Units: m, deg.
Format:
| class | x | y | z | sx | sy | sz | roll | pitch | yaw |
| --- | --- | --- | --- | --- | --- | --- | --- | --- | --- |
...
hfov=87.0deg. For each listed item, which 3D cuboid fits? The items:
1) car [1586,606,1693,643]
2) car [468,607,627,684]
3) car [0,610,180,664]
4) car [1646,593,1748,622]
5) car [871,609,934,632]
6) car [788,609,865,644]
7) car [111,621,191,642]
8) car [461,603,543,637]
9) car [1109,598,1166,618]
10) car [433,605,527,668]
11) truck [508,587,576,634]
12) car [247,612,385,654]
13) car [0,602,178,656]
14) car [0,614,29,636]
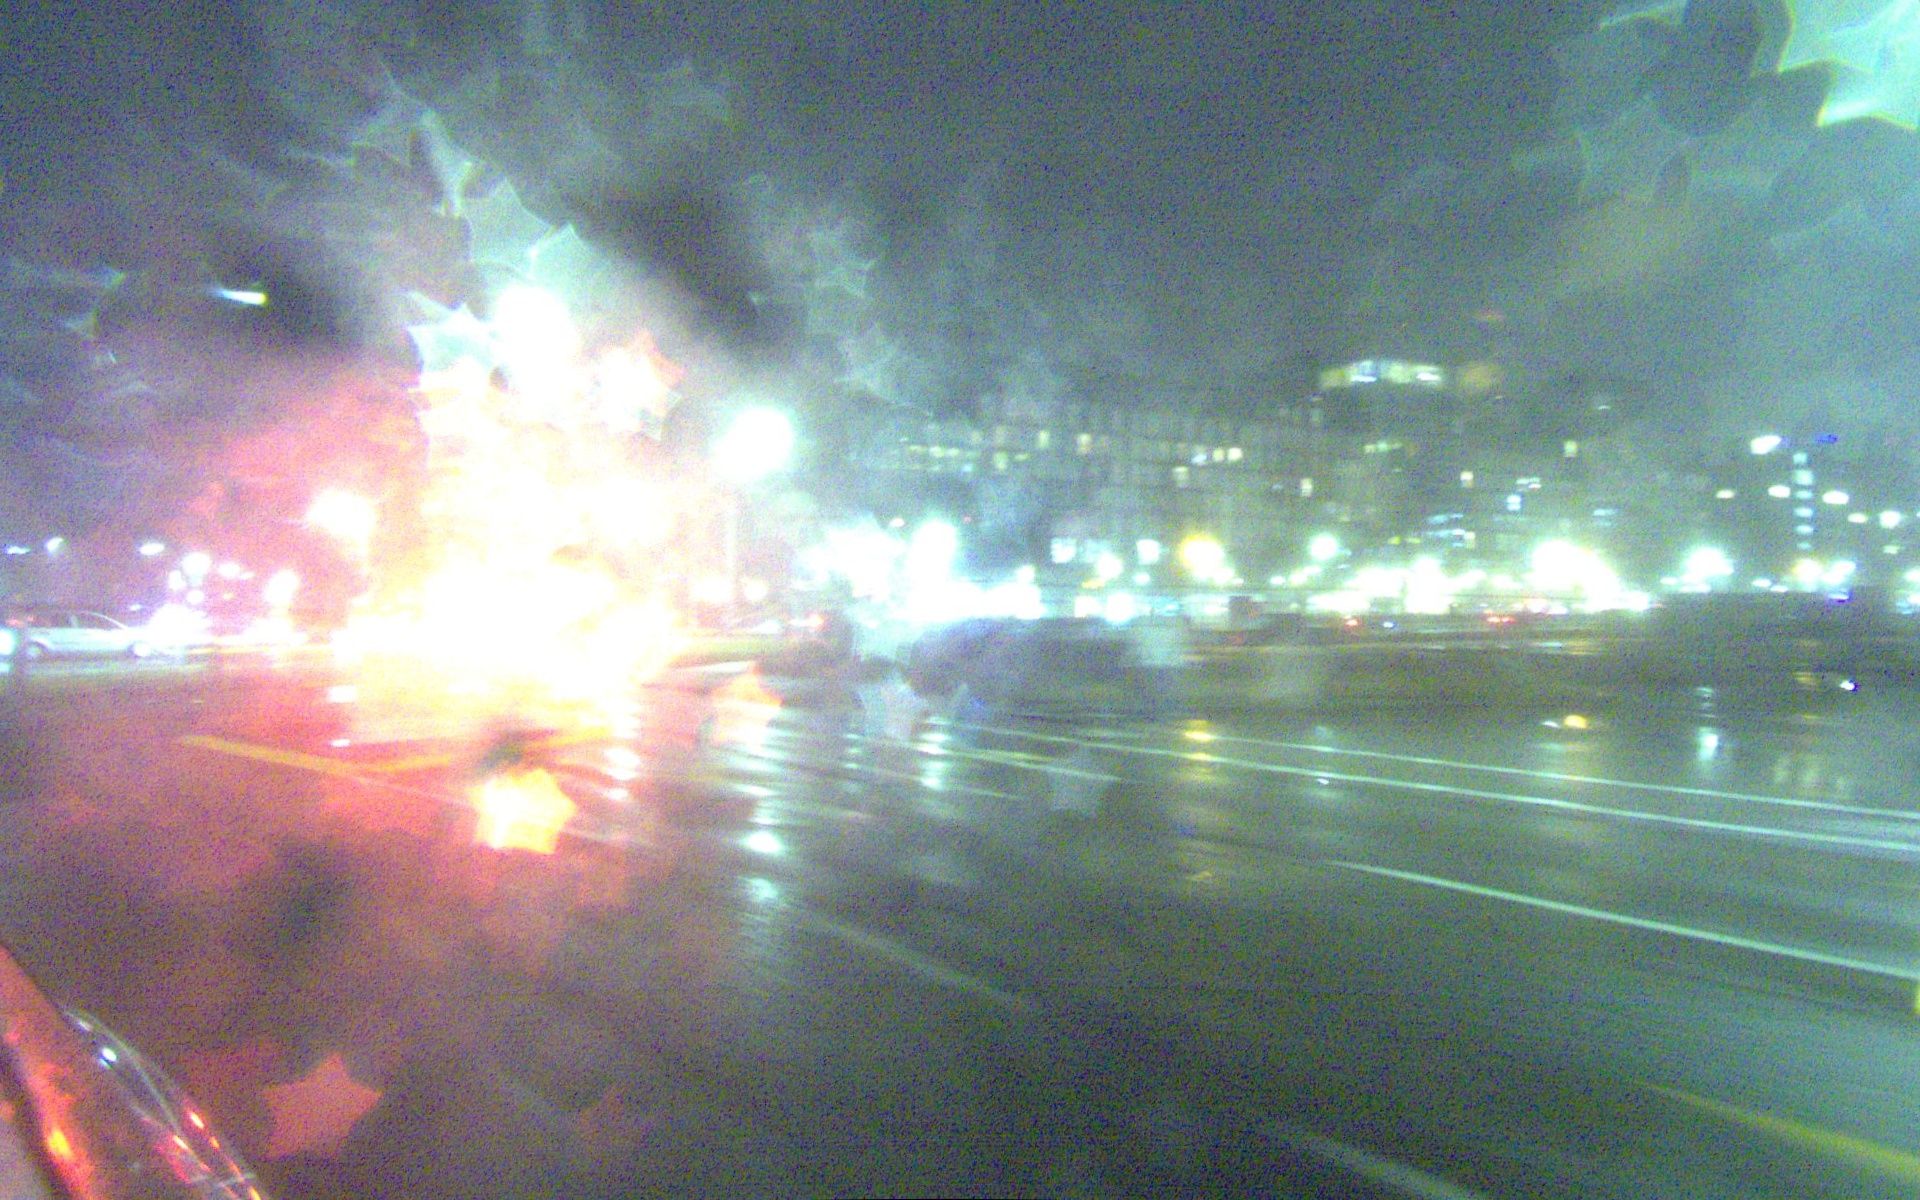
| class | x | y | z | sx | sy | sz | roll | pitch | yaw |
| --- | --- | --- | --- | --- | --- | --- | --- | --- | --- |
| car | 37.947 | 1.364 | 56.605 | 2.293 | 1.749 | 4.327 | 3 | 0 | -30 |
| car | -9.128 | 0.965 | 22.197 | 1.968 | 1.466 | 4.311 | 6 | -4 | -39 |
| car | -25.460 | 1.024 | 29.072 | 1.645 | 1.477 | 4.580 | -1 | -1 | 38 |
| car | 43.326 | 0.444 | 59.616 | 1.965 | 1.634 | 4.410 | 0 | -1 | -28 |
| car | -4.374 | 1.558 | 76.839 | 4.354 | 1.634 | 2.007 | 1 | -1 | -22 |
| car | -7.015 | 1.396 | 53.600 | 1.994 | 1.788 | 3.955 | -1 | -1 | 33 |
| car | -58.589 | 2.275 | 73.370 | 4.118 | 1.477 | 2.004 | 0 | -1 | -9 |
| car | -22.214 | 0.988 | 49.273 | 1.974 | 1.545 | 4.181 | 1 | -1 | 3 |
| car | 15.161 | 0.703 | 86.341 | 4.354 | 1.634 | 2.007 | 1 | -1 | -22 |
| car | -13.438 | 0.996 | 28.568 | 2.034 | 1.634 | 4.648 | 1 | -1 | -21 |
| truck | -23.364 | 0.632 | 56.949 | 2.284 | 2.415 | 7.833 | 1 | -1 | -13 |
| car | -24.881 | 1.252 | 39.277 | 1.986 | 1.544 | 4.157 | 0 | -1 | 21 |
| car | -28.227 | 0.928 | 32.631 | 1.997 | 1.634 | 4.375 | 0 | -2 | 38 |
| car | -67.674 | 1.723 | 70.198 | 4.114 | 1.477 | 2.006 | 0 | -1 | -16 |
